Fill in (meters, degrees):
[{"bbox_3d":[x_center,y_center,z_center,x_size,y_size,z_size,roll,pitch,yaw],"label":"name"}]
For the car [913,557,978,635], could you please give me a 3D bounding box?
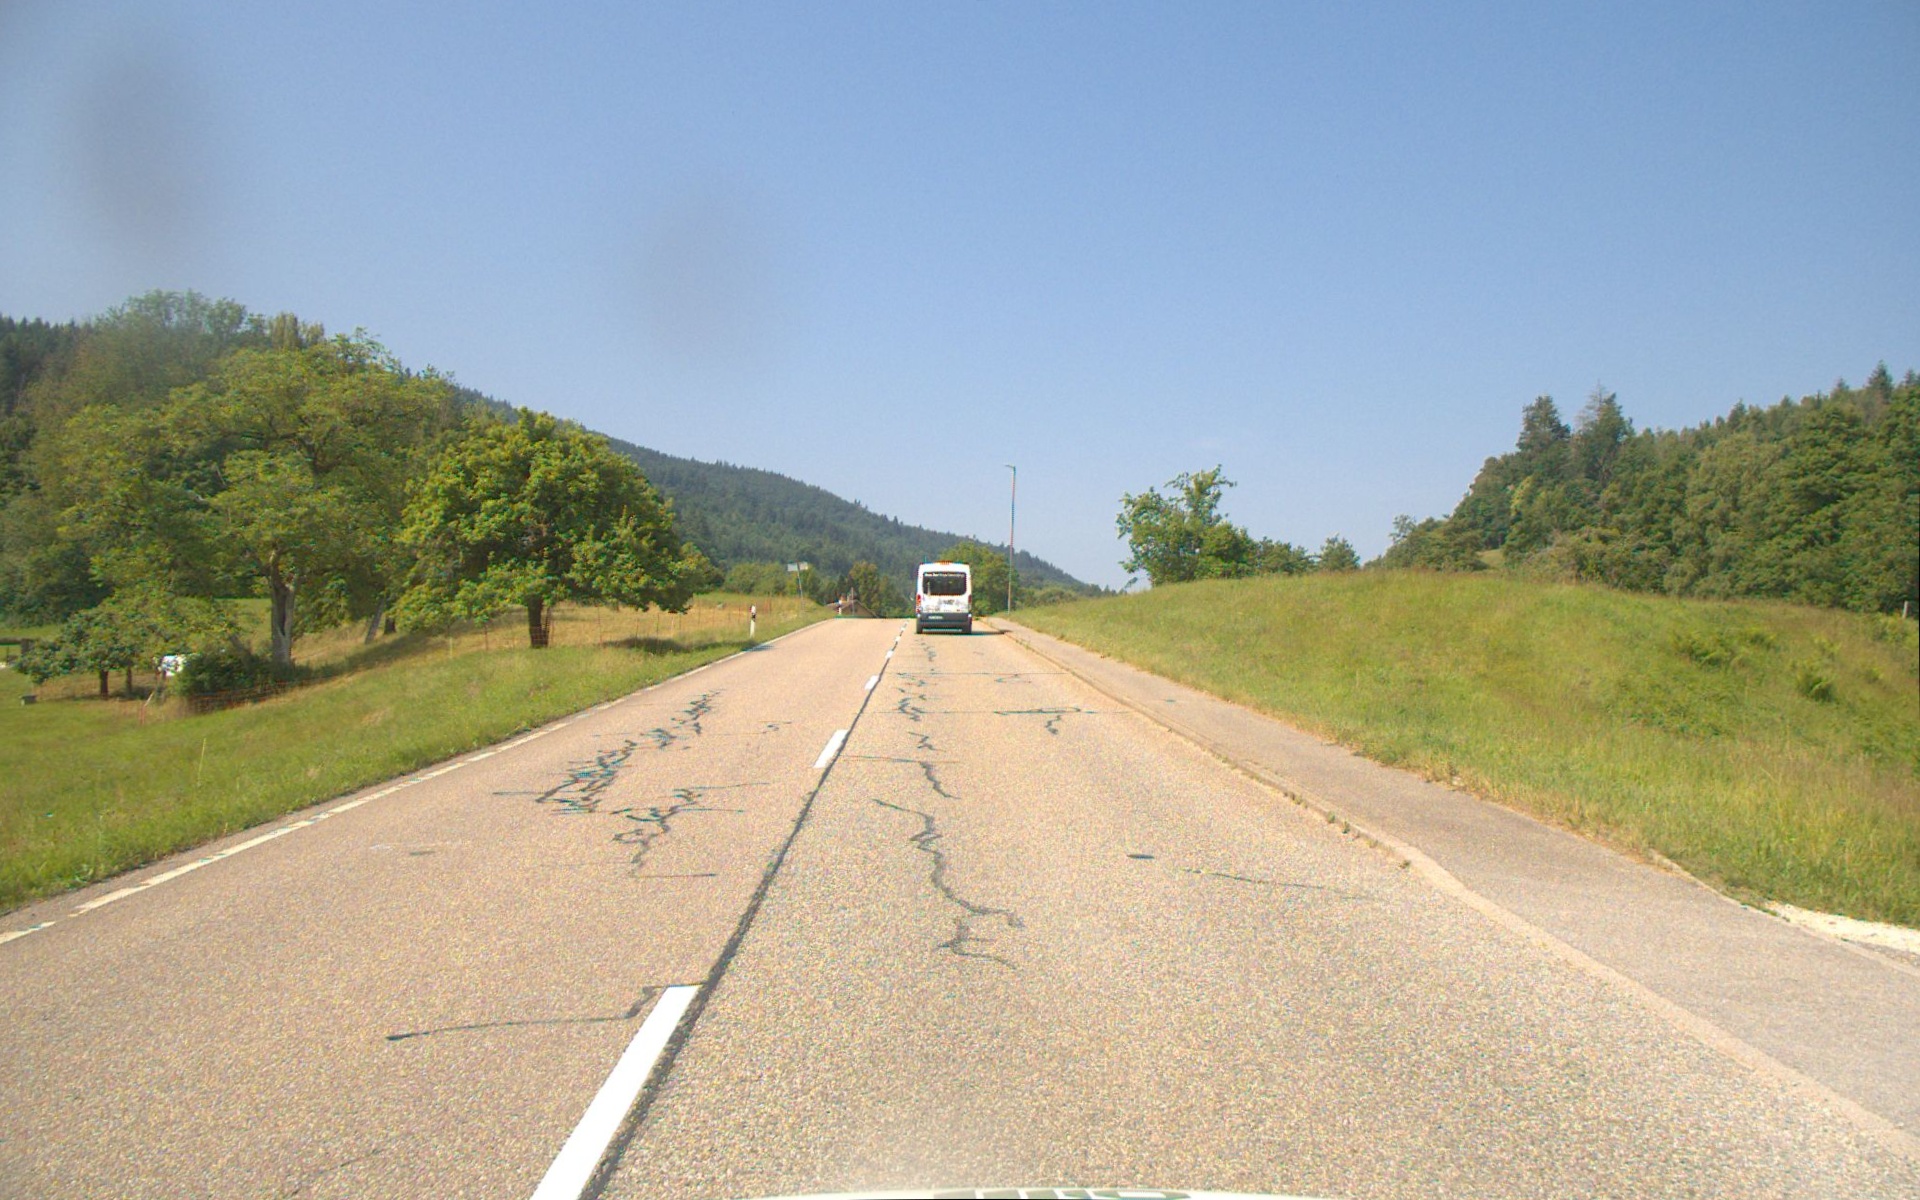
[{"bbox_3d":[-0.558,-0.076,59.867,2.177,2.570,4.982,-2,-2,-1],"label":"car"}]
